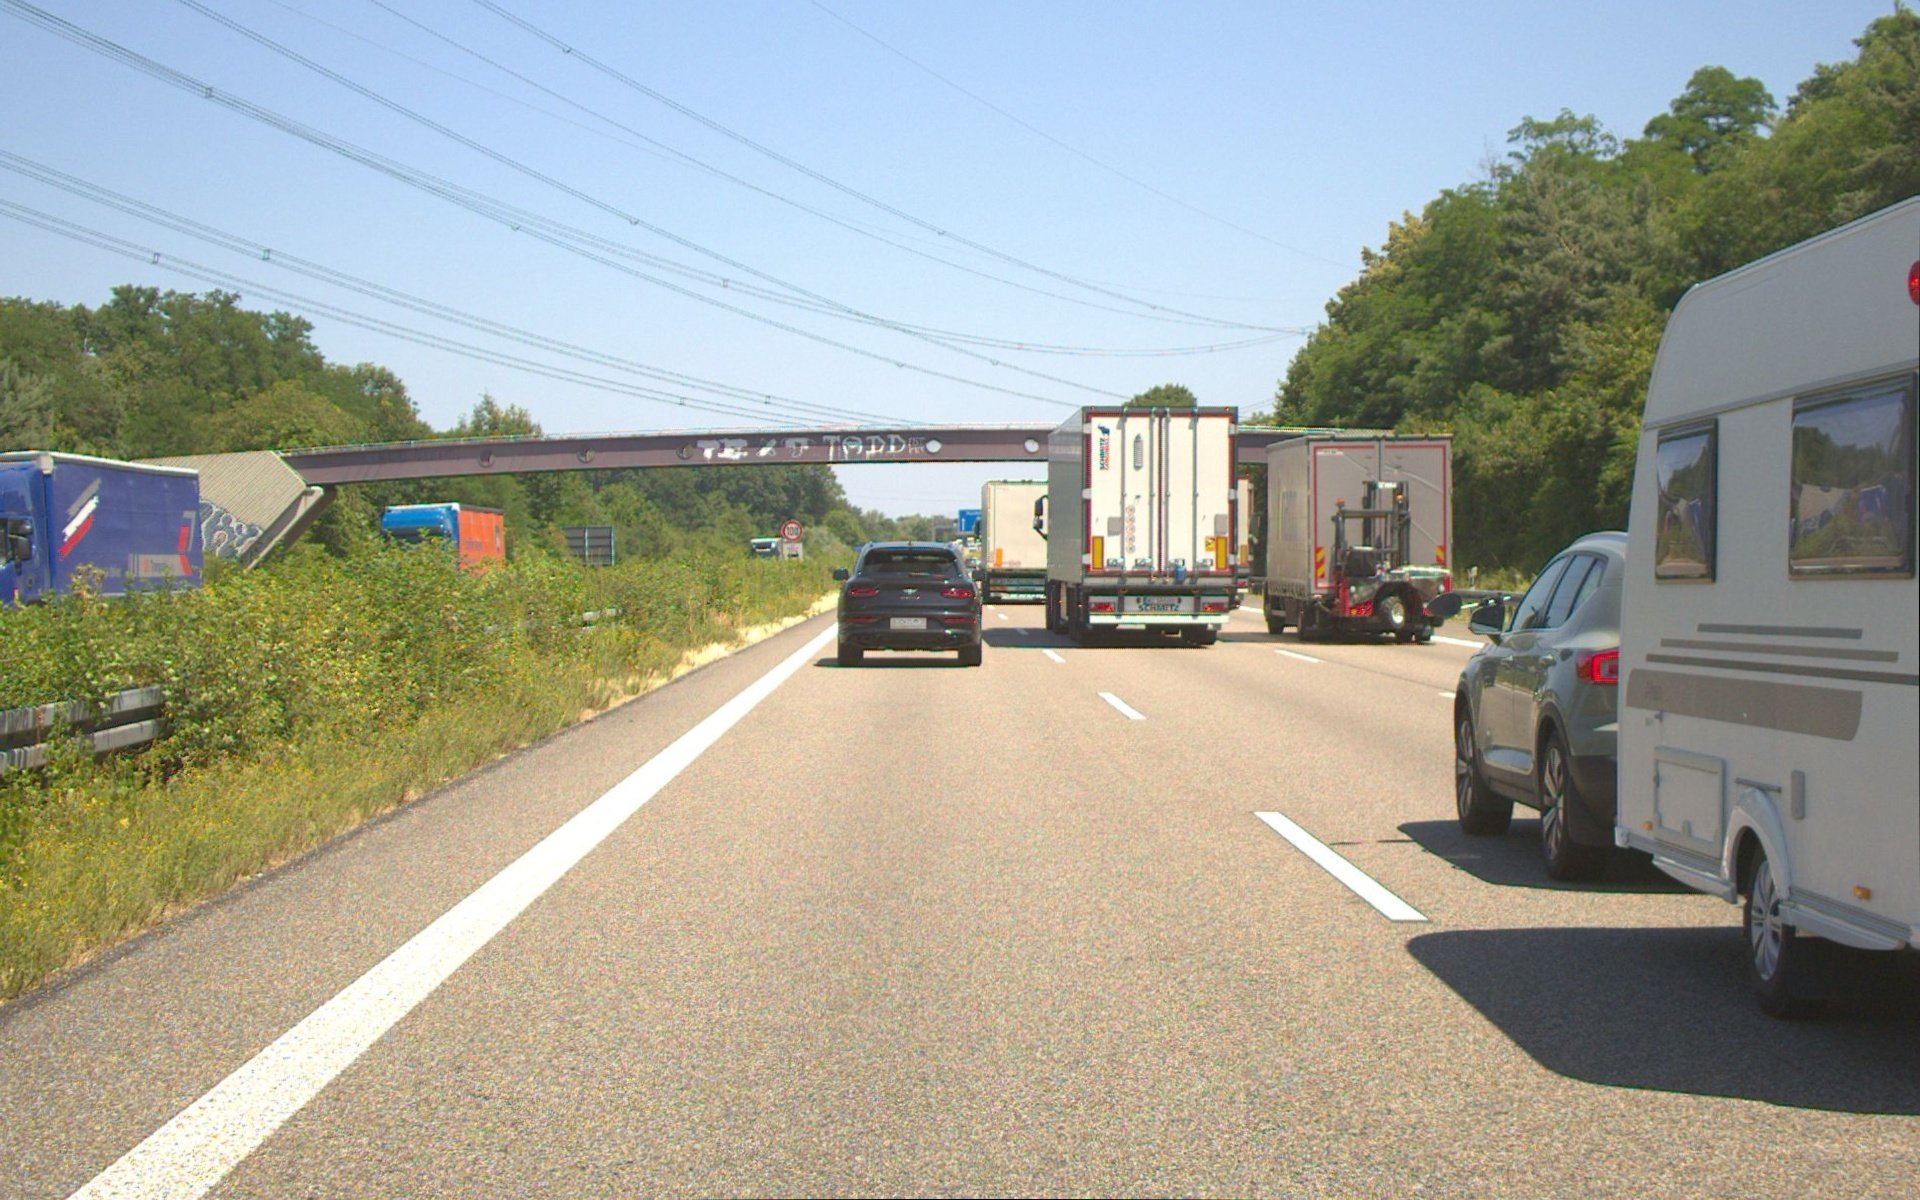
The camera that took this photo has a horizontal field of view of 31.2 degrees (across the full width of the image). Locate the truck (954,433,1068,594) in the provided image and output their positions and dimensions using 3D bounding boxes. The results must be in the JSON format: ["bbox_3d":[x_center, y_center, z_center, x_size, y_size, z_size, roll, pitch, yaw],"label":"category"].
[{"bbox_3d":[1.620,-2.863,115.619,3.512,5.149,10.259,0,1,-1],"label":"truck"}]

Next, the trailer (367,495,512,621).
[{"bbox_3d":[-19.387,-1.608,129.016,3.343,4.392,14.166,-2,1,-1],"label":"trailer"}]

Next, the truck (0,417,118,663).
[{"bbox_3d":[-18.408,-1.064,65.075,3.087,4.392,6.801,-3,1,-1],"label":"truck"}]

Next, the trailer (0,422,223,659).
[{"bbox_3d":[-18.480,-1.183,71.702,3.087,4.392,14.232,-3,1,-1],"label":"trailer"}]

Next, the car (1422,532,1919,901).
[{"bbox_3d":[3.593,0.476,17.431,1.879,1.607,4.702,0,1,0],"label":"car"}]

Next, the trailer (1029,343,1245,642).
[{"bbox_3d":[3.040,-1.835,62.773,3.087,4.868,12.258,1,1,-1],"label":"trailer"}]

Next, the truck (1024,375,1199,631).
[{"bbox_3d":[2.969,-1.899,69.370,3.087,4.868,6.598,1,0,-1],"label":"truck"}]

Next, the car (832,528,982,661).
[{"bbox_3d":[-0.775,-0.109,48.229,1.993,1.766,4.000,-1,1,-2],"label":"car"}]

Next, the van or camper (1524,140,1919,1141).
[{"bbox_3d":[3.736,0.050,11.849,2.439,2.665,6.350,-1,1,-1],"label":"van or camper"}]

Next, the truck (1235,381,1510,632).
[{"bbox_3d":[7.539,-1.663,64.799,3.571,4.230,11.652,1,1,-1],"label":"truck"}]

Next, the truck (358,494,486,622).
[{"bbox_3d":[-19.333,-1.532,124.042,3.343,4.392,7.972,-2,1,-1],"label":"truck"}]
